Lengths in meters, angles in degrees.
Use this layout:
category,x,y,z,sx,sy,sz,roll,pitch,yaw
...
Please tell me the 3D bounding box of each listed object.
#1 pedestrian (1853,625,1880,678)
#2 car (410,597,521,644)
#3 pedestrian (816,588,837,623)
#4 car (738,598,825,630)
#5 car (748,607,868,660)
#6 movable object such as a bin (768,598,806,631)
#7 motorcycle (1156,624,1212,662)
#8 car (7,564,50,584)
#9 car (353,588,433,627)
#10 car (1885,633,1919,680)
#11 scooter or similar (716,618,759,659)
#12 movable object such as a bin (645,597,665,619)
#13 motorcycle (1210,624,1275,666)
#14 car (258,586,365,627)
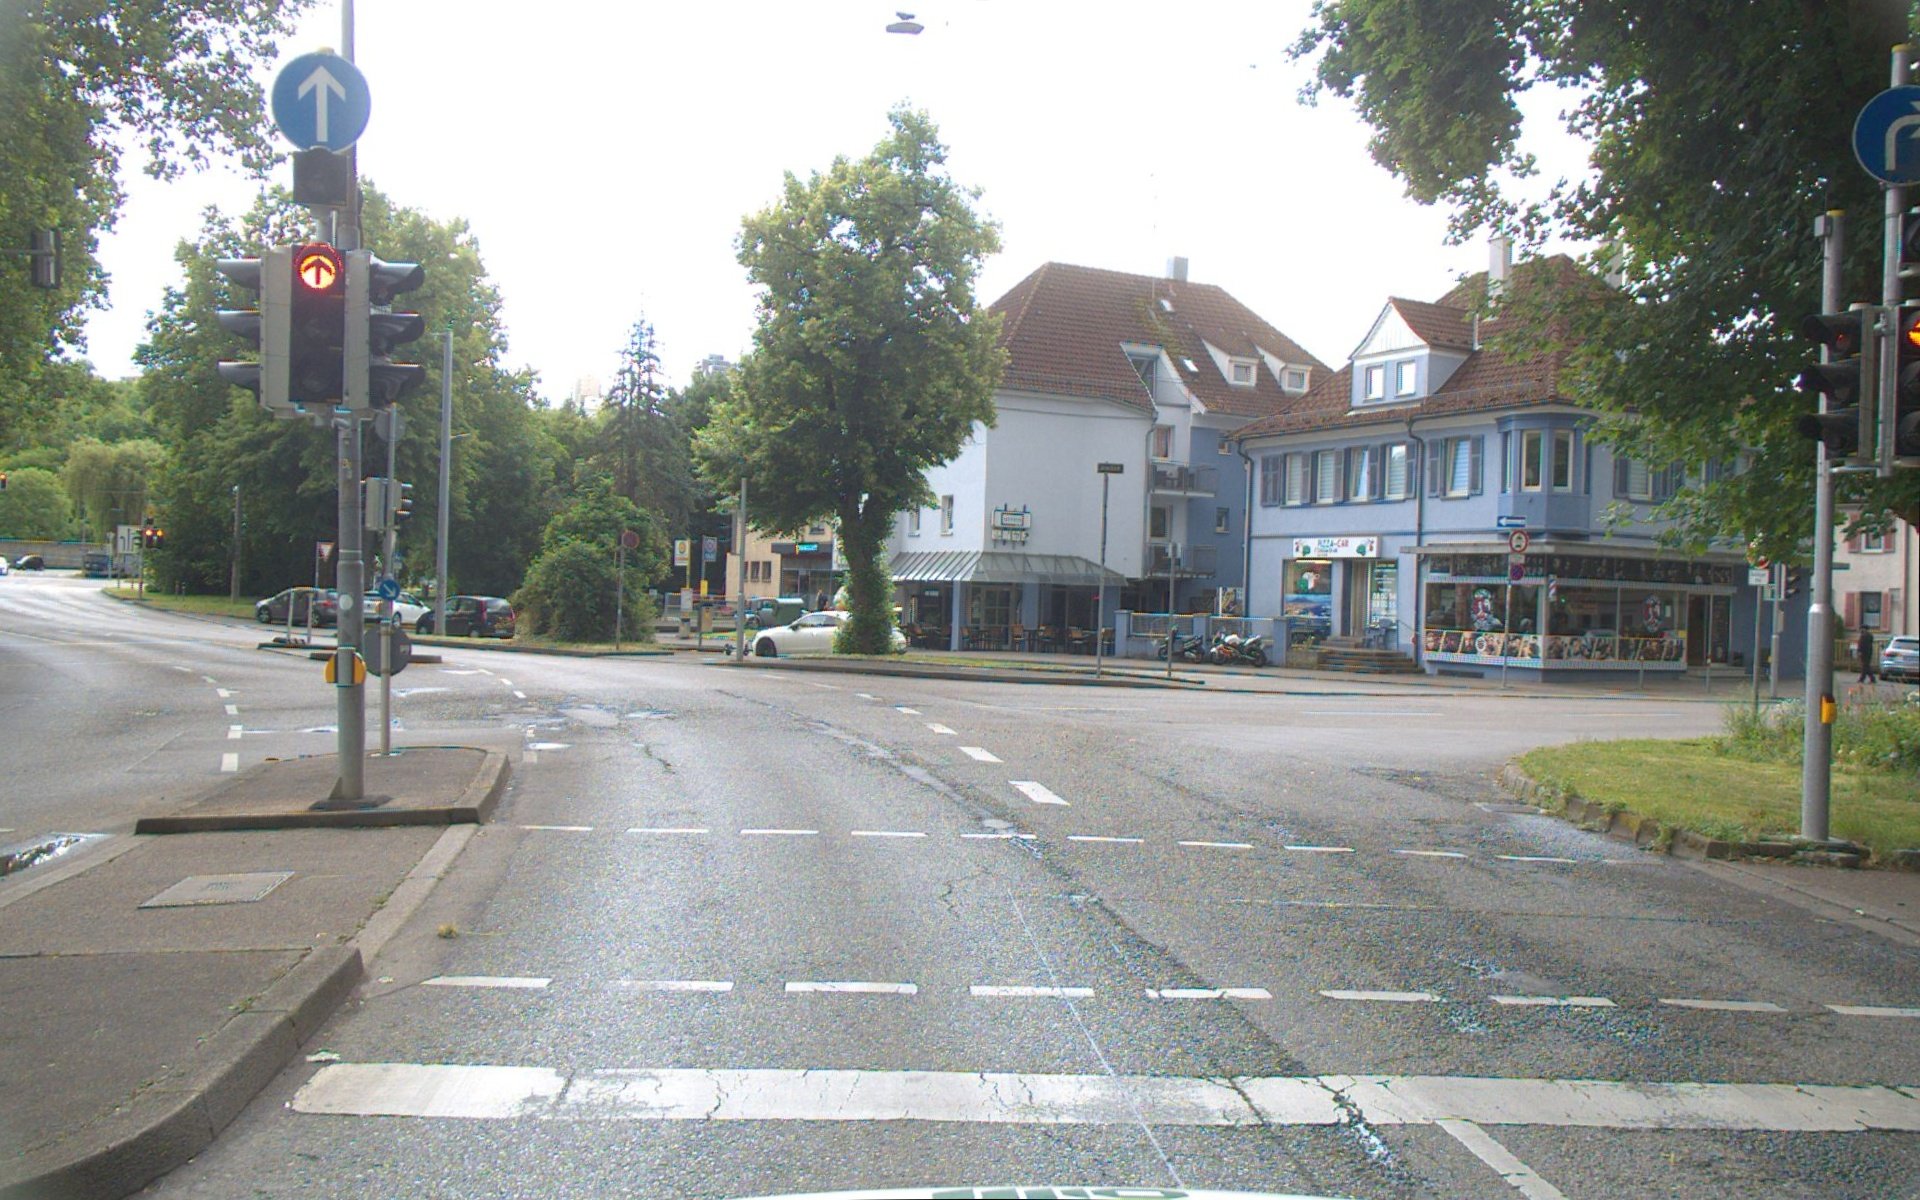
category,x,y,z,sx,sy,sz,roll,pitch,yaw
pedestrian,26.388,1.495,48.141,0.455,1.544,0.579,1,-1,-40
car,-16.003,0.661,53.470,3.519,1.418,1.468,1,0,32
pedestrian,-6.166,0.248,76.385,0.670,1.572,0.699,2,0,-35
car,-8.154,0.644,75.740,3.690,1.368,1.421,1,0,-27
car,-4.240,0.918,45.966,3.110,1.378,1.435,1,0,34
movable object such as a bin,-7.714,0.660,73.850,1.424,1.433,0.959,1,0,-27
motorcycle,6.796,1.295,50.245,1.609,1.082,0.690,1,0,44
car,-102.211,-2.822,181.499,3.948,2.049,1.978,1,0,-32
car,-22.664,0.308,66.192,1.512,1.490,3.398,1,0,10
car,29.856,1.740,51.422,1.471,1.393,3.164,1,0,38
scooter or similar,-5.726,0.983,42.549,0.408,1.029,1.567,1,0,20
movable object such as a bin,-15.849,0.398,85.923,0.937,1.135,0.381,1,0,-22
motorcycle,8.277,1.312,48.488,1.765,1.141,0.692,1,0,38
car,-24.855,0.247,63.402,3.469,1.490,1.586,1,0,12
